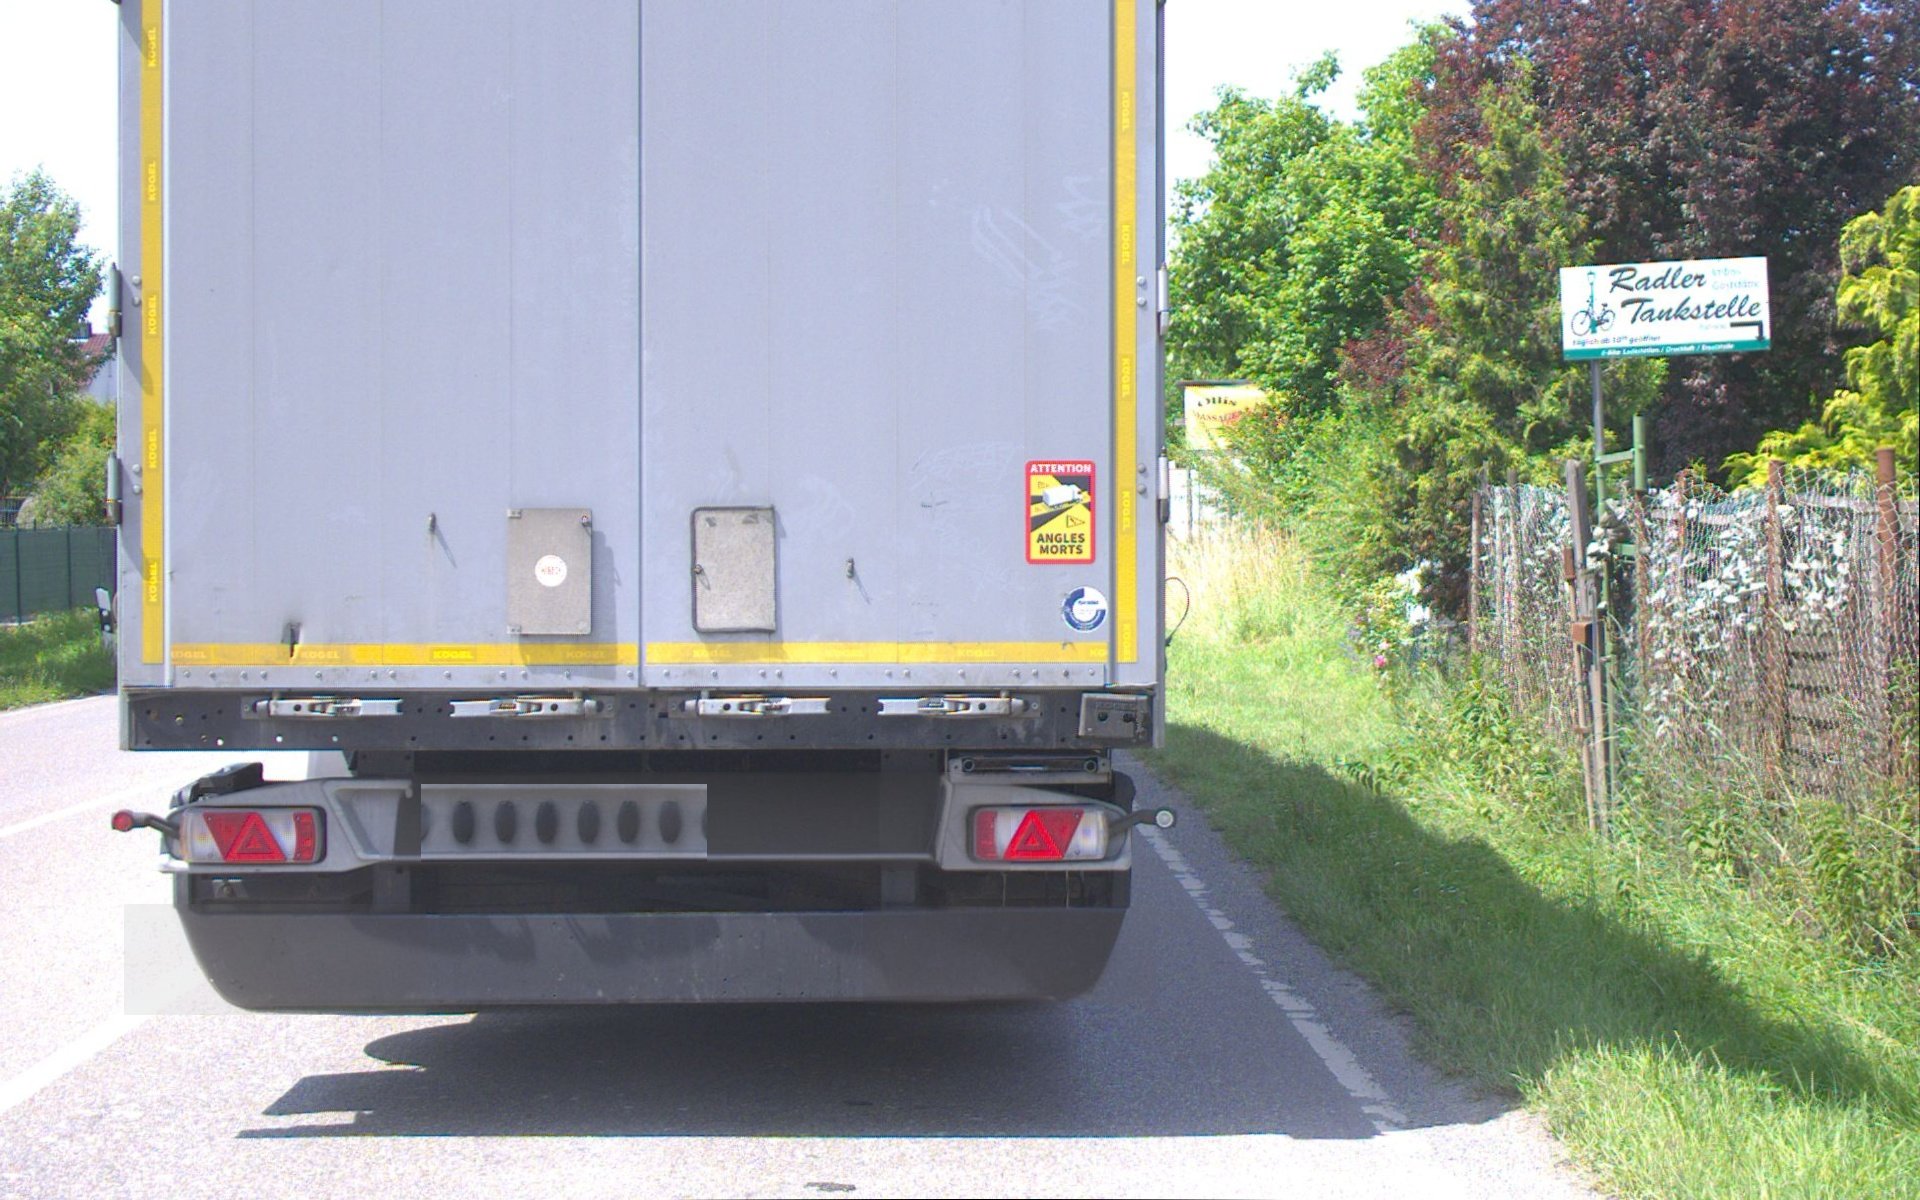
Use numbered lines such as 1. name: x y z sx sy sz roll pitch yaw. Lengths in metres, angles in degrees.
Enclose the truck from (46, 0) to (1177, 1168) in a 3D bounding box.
1. truck: -1.015 -0.710 12.495 2.647 3.903 8.826 0 1 -3
